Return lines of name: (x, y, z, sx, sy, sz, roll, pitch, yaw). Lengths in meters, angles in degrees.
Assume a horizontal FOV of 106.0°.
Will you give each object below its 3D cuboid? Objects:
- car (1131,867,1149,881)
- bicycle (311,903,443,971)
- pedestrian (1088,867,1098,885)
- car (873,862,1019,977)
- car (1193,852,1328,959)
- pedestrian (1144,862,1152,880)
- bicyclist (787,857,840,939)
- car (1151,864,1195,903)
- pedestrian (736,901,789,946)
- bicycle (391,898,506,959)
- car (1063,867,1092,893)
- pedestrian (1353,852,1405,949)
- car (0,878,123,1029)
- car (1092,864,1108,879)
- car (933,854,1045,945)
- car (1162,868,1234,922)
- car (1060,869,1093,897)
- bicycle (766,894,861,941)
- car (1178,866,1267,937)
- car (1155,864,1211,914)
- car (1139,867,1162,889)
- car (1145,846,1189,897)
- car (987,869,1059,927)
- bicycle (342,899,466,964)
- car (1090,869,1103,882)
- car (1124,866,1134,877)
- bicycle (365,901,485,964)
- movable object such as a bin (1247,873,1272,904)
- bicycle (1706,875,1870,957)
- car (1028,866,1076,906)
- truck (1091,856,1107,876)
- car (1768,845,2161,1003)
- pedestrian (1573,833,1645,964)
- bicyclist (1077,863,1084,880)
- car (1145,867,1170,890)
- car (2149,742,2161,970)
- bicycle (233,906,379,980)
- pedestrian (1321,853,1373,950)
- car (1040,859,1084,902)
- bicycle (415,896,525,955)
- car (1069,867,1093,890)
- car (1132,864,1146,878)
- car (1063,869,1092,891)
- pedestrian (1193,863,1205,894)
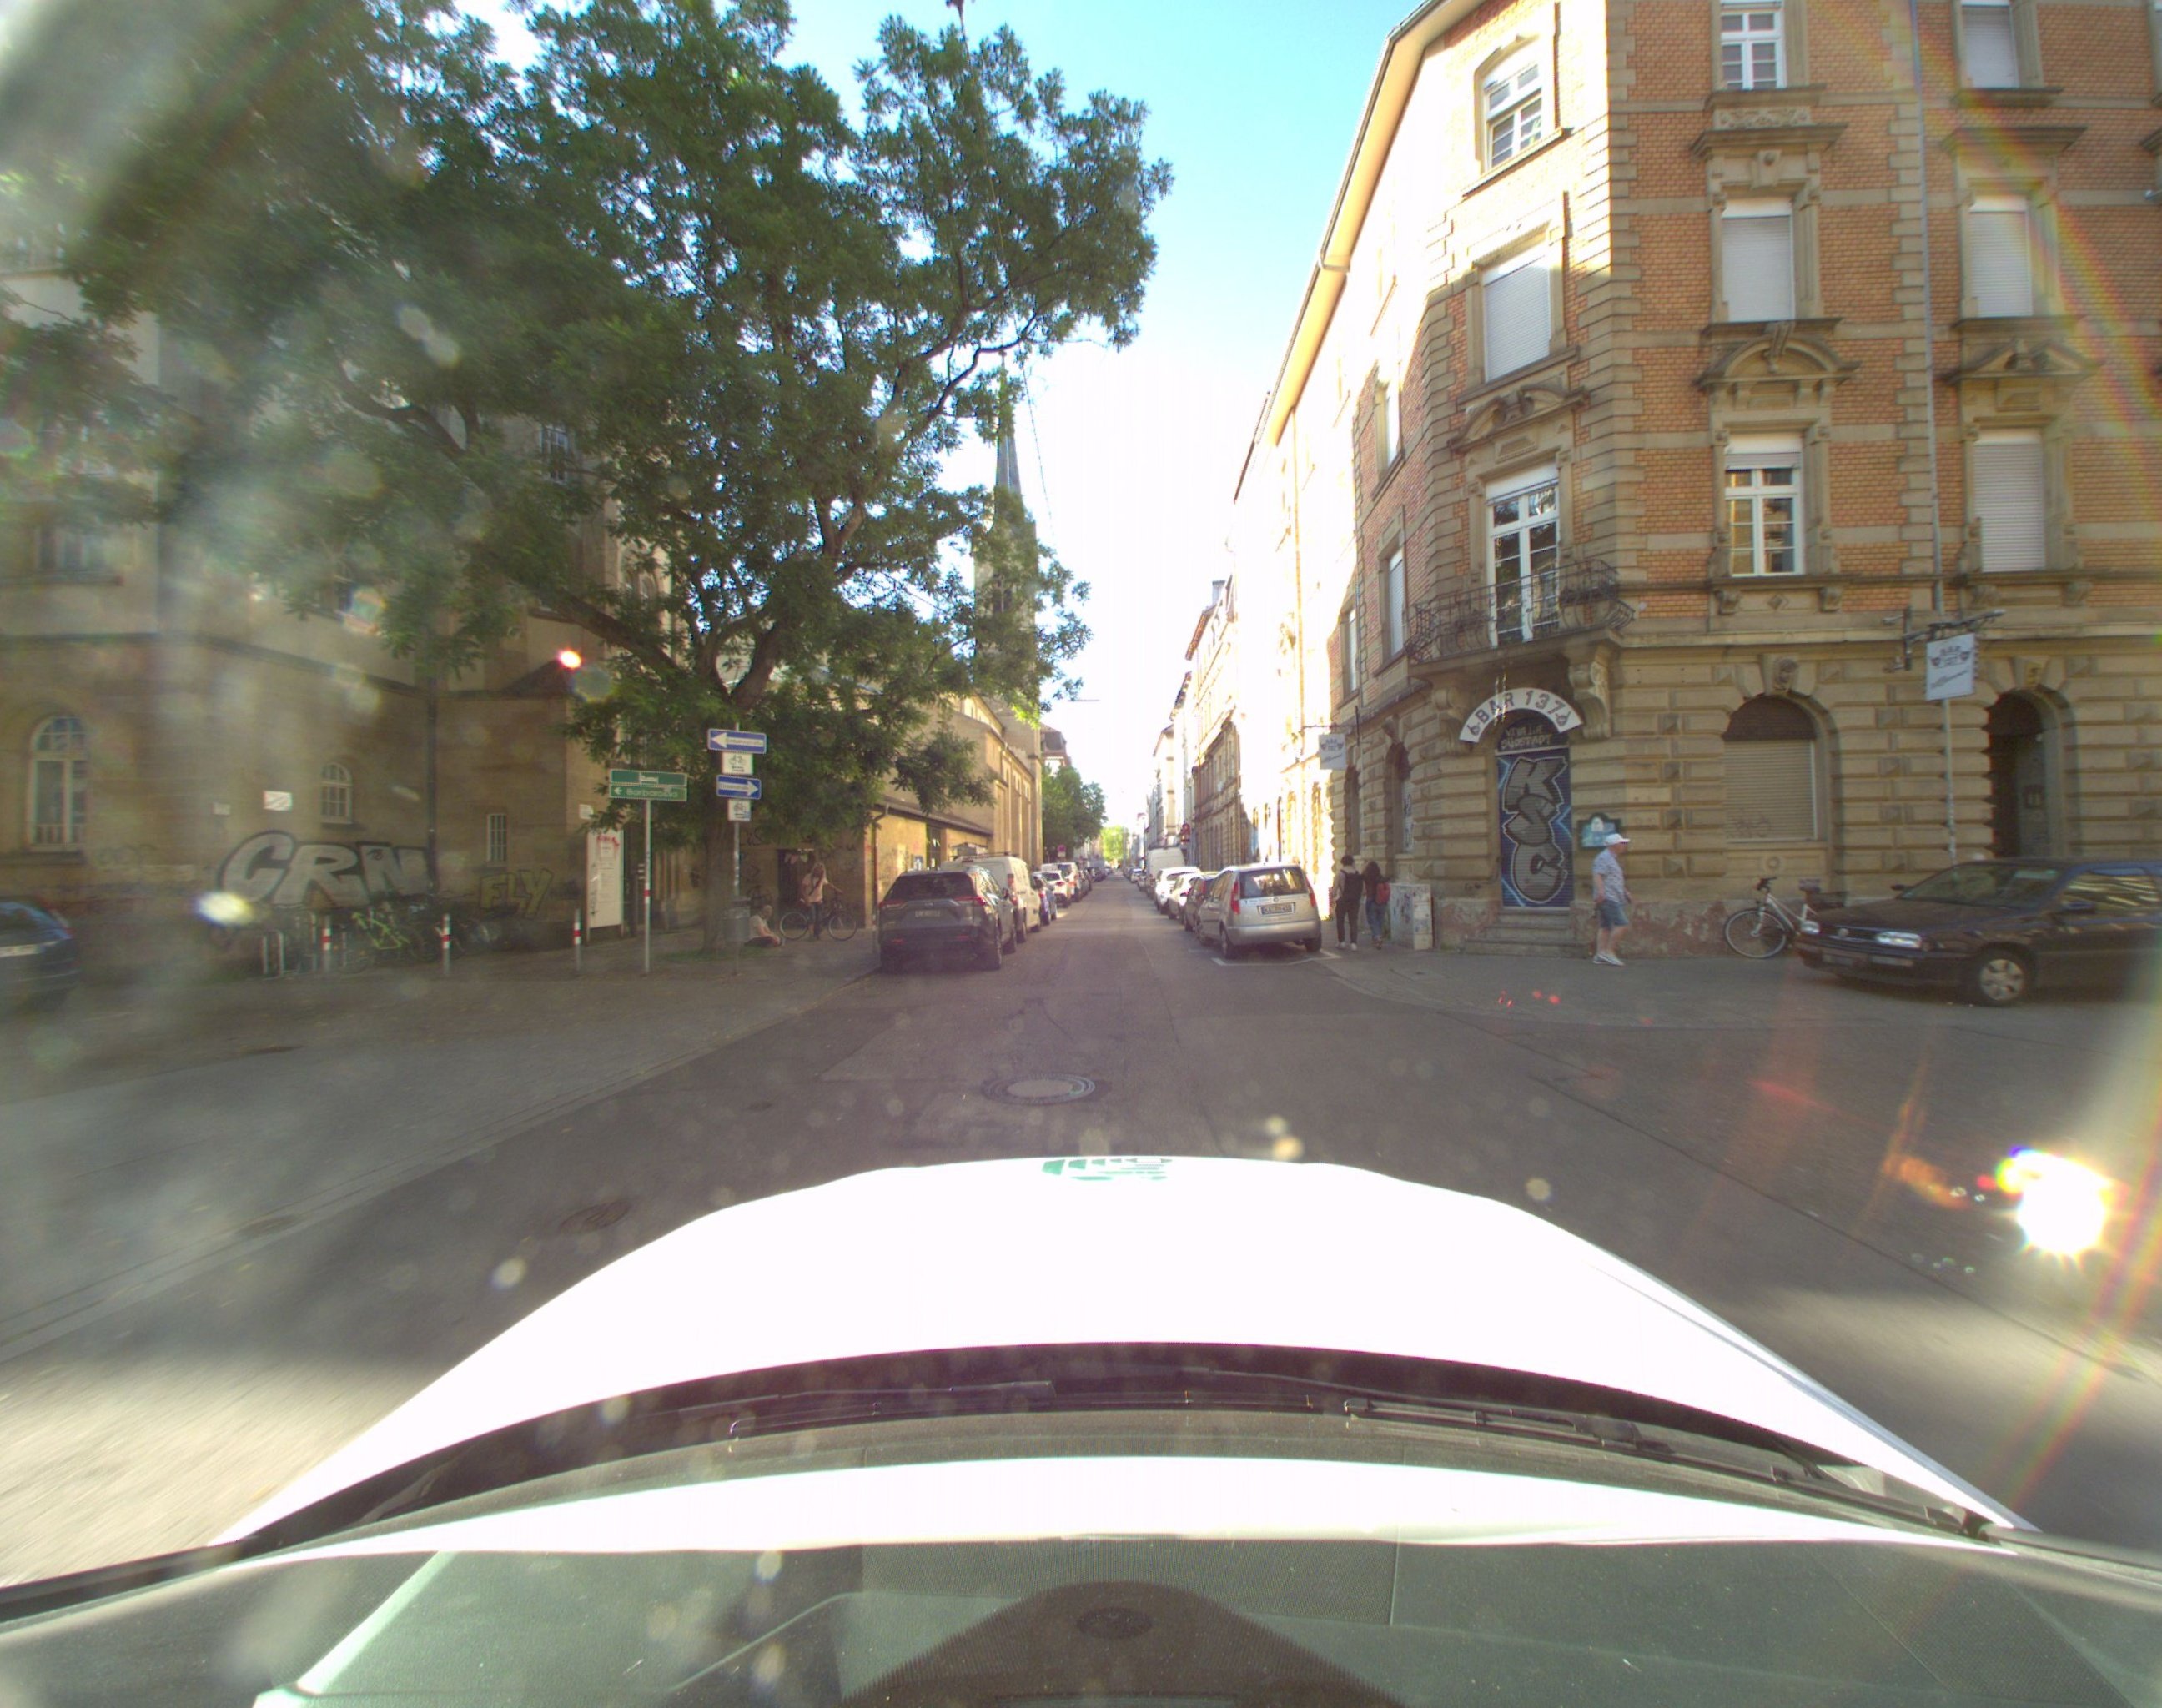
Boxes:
car: (6.485, 2.167, 89.302, 1.890, 1.488, 3.872, -1, -1, 3)
bicycle: (-11.928, 1.401, 13.822, 1.769, 1.054, 0.534, -2, -1, 1)
pedestrian: (1.267, 2.294, 86.109, 0.776, 1.843, 1.016, -1, -1, 18)
car: (-2.149, 0.994, 14.119, 1.735, 1.646, 4.288, -1, -1, 0)
car: (3.260, 0.886, 15.514, 1.697, 1.714, 3.938, -2, -1, 1)
pedestrian: (6.913, 1.789, 84.071, 0.681, 1.843, 0.692, 0, -1, -9)
bicyclist: (-5.841, 0.939, 17.813, 0.800, 1.723, 0.694, 1, -1, 11)
car: (4.070, 1.268, 36.452, 1.680, 1.643, 3.926, -1, -1, 2)
pedestrian: (-6.189, 1.339, 15.849, 0.919, 0.778, 0.698, -1, -1, -22)
bicycle: (-11.829, 1.392, 15.244, 1.769, 1.054, 0.478, -2, -1, 1)
car: (-0.179, 1.642, 52.069, 1.666, 1.559, 4.001, -2, -1, 2)
pedestrian: (5.213, 0.796, 14.277, 0.572, 1.622, 0.734, -3, -1, 0)
car: (-13.758, 1.138, 9.117, 3.972, 1.598, 1.771, -1, 1, 2)
car: (2.383, 2.127, 101.220, 1.868, 1.796, 4.003, -1, -1, 3)
car: (-2.049, 0.974, 19.408, 1.837, 1.862, 4.469, -2, -1, 4)
car: (3.541, 1.211, 25.268, 1.567, 1.525, 3.906, 1, -1, -1)
car: (-0.214, 1.649, 47.261, 1.609, 1.452, 3.952, -3, -1, 3)
bicycle: (-5.834, 1.368, 17.803, 1.750, 0.923, 0.829, 1, -1, 10)
car: (3.378, 1.091, 20.029, 1.530, 1.513, 3.682, -2, -1, 1)
car: (3.692, 1.236, 30.063, 1.800, 1.690, 4.217, 1, -1, 3)
car: (5.146, 1.765, 60.759, 1.596, 1.505, 4.004, 0, -1, 4)
car: (4.652, 0.944, 44.780, 2.060, 2.611, 5.891, -1, -1, 3)
car: (-1.661, 1.268, 24.683, 1.681, 1.477, 3.862, -3, -1, 2)
bicycle: (-11.867, 1.358, 14.296, 1.769, 1.054, 0.478, -2, -1, 1)
car: (2.389, 3.261, 123.243, 1.869, 1.796, 4.000, -1, -1, 1)
car: (9.822, 3.569, 165.544, 1.985, 2.014, 4.003, -1, -1, 3)
bicycle: (-11.837, 1.406, 14.720, 1.769, 1.054, 0.478, -2, -1, 1)
movable object such as a bin: (6.391, 1.236, 29.180, 0.551, 1.052, 0.598, -4, -1, -31)
bicycle: (9.858, 0.857, 11.388, 1.769, 1.054, 0.534, -2, -1, 1)
car: (-1.216, 1.344, 35.259, 1.735, 1.586, 3.871, -1, -1, 3)
truck: (3.158, 2.106, 139.700, 2.522, 3.282, 6.999, -1, -1, 3)
car: (10.035, 0.670, 8.636, 3.963, 1.452, 1.735, -1, 0, 3)
pedestrian: (7.174, 0.595, 11.092, 0.656, 1.733, 0.579, -3, -1, 22)
bicyclist: (-0.077, 1.754, 83.234, 0.602, 1.688, 0.885, -1, -1, 2)
car: (5.238, 1.667, 55.936, 1.563, 1.495, 3.656, 0, -1, 3)
car: (15.899, -0.030, 8.443, 6.781, 2.650, 2.068, -1, 1, 2)
bicycle: (-12.068, 1.371, 12.703, 1.769, 1.054, 0.534, -2, -1, 1)
pedestrian: (4.614, 0.807, 14.160, 0.589, 1.604, 0.727, -3, -1, 0)
car: (-0.882, 1.319, 41.093, 1.857, 1.957, 4.612, -3, -1, 2)
bicycle: (-11.834, 1.386, 15.799, 1.769, 1.054, 0.478, -2, -1, 1)
car: (0.002, 1.822, 62.160, 1.594, 1.614, 3.810, -4, -1, 2)
car: (7.776, 2.241, 109.744, 1.762, 1.741, 4.003, -1, -1, 3)
car: (-0.213, 1.801, 57.231, 1.562, 1.398, 3.813, -5, -1, 5)
pedestrian: (6.789, 1.415, 46.908, 0.637, 1.772, 0.678, 0, -2, 0)
